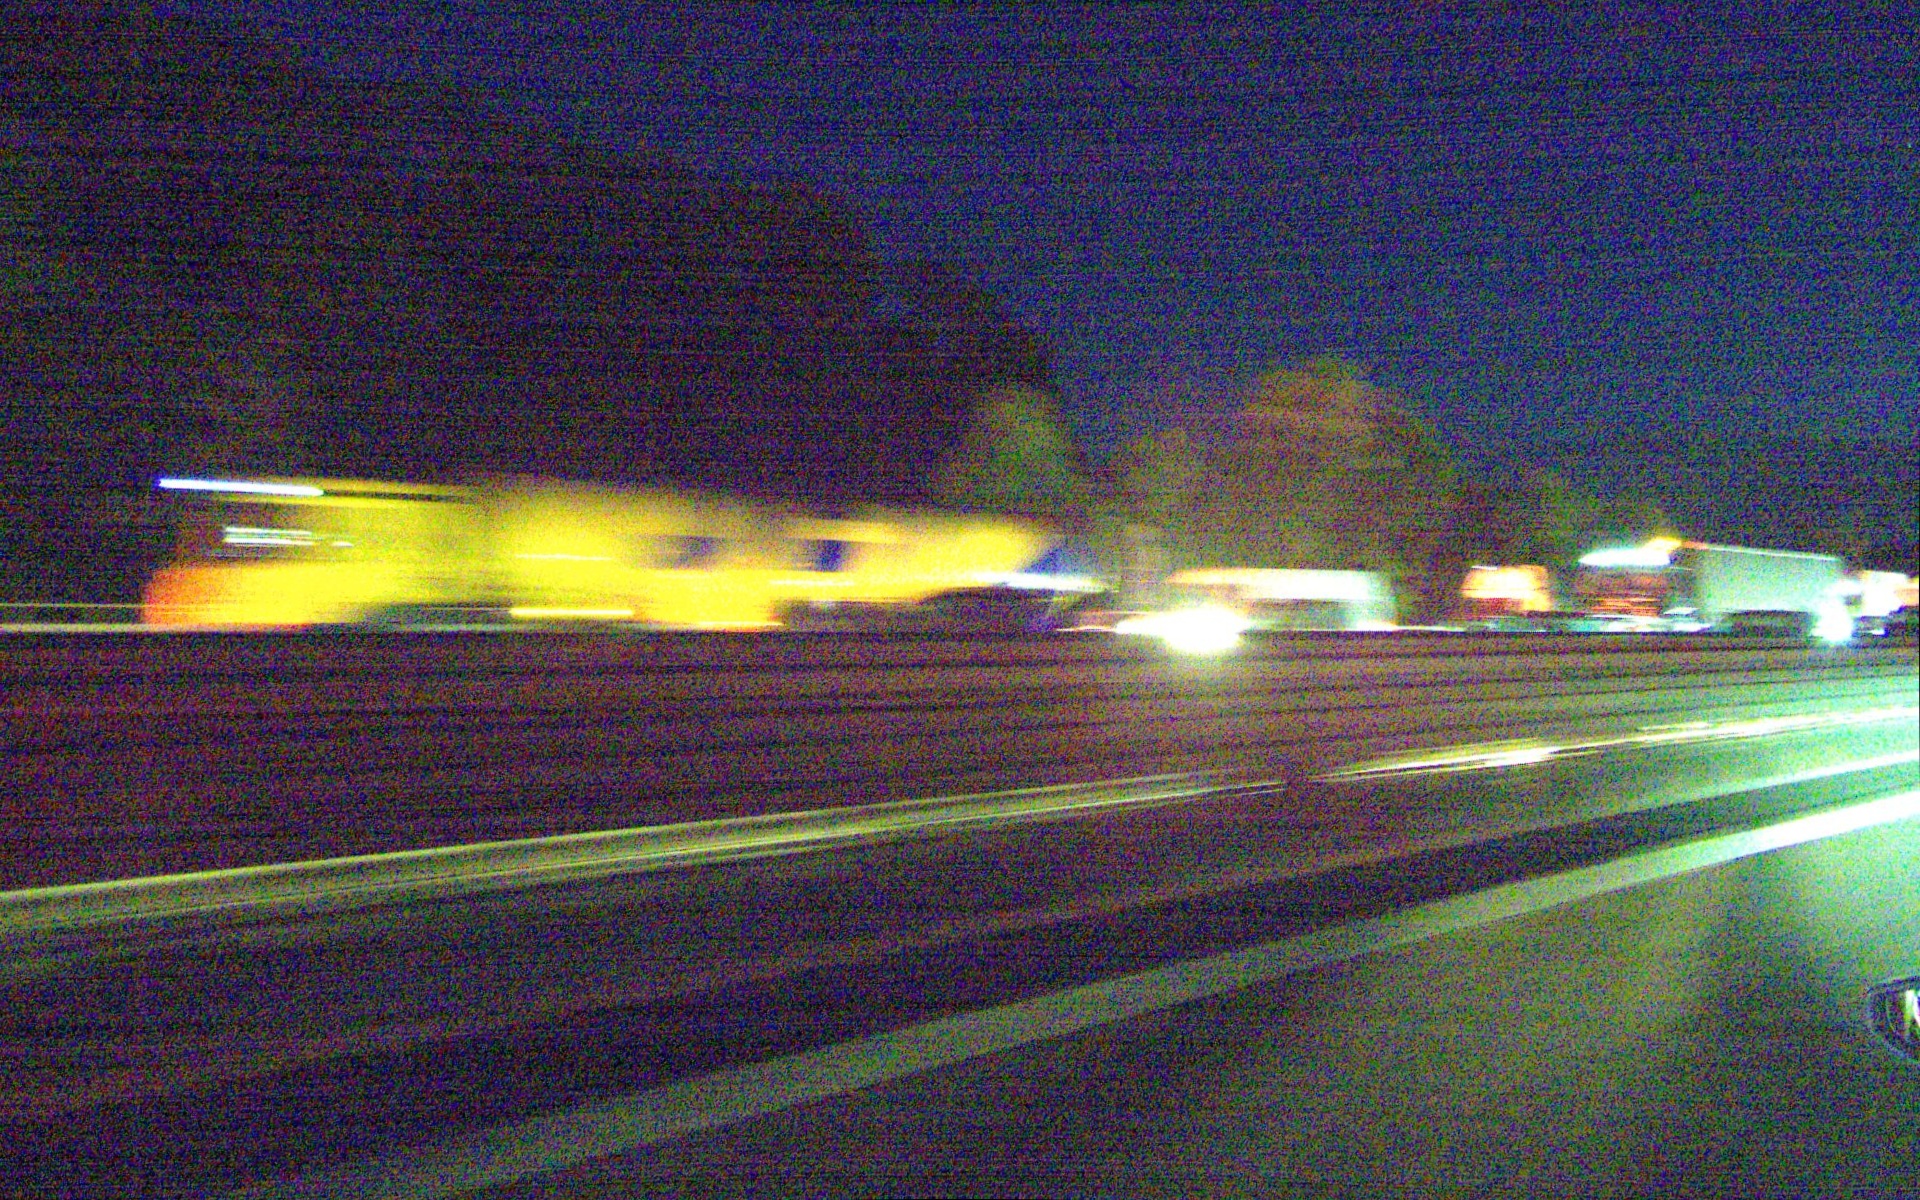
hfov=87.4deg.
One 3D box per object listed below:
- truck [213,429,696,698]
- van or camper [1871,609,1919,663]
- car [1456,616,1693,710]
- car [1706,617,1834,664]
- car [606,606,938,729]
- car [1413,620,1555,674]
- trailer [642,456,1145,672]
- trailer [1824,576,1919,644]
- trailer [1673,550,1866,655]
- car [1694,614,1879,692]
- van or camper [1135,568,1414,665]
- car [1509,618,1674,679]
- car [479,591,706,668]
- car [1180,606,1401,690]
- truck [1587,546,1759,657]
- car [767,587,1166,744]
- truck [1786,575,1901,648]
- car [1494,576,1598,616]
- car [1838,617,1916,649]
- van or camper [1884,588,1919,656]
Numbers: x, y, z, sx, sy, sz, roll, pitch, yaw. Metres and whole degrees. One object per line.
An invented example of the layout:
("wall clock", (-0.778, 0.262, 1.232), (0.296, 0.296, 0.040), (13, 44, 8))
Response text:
("truck", (-7.149, -0.384, 14.762), (5.727, 3.262, 2.631), (3, 2, -30))
("van or camper", (26.972, 0.991, 27.352), (5.292, 1.372, 1.810), (2, 0, -32))
("car", (10.248, 1.002, 16.701), (3.950, 1.372, 1.564), (2, 0, -28))
("car", (25.910, 1.279, 32.125), (4.189, 1.372, 1.788), (2, 0, -30))
("car", (-2.401, 0.817, 13.076), (3.953, 1.372, 1.563), (2, 0, -30))
("car", (14.841, 1.308, 28.400), (4.189, 1.372, 1.563), (2, 0, -30))
("trailer", (-0.956, -0.446, 18.443), (8.898, 3.218, 2.593), (3, 2, -30))
("trailer", (55.436, 0.681, 59.577), (12.991, 3.724, 2.865), (2, 0, -33))
("trailer", (31.878, 0.218, 39.318), (11.058, 3.675, 2.380), (2, 1, -33))
("car", (17.705, 1.110, 21.493), (3.950, 1.491, 1.651), (2, 0, -28))
("van or camper", (7.754, 0.422, 24.210), (7.563, 2.040, 2.173), (2, 0, -34))
("car", (16.091, 1.214, 25.558), (4.189, 1.372, 1.788), (2, 0, -30))
("car", (-7.144, 0.573, 19.610), (3.953, 1.372, 1.563), (2, 0, -30))
("car", (6.107, 0.861, 18.495), (3.950, 1.372, 1.564), (2, 0, -28))
("truck", (24.781, 0.078, 34.835), (6.648, 3.561, 2.390), (1, 1, -32))
("car", (0.137, 0.612, 10.548), (3.955, 1.372, 1.562), (2, 0, -32))
("truck", (48.238, 0.642, 54.780), (7.186, 3.724, 2.865), (2, 0, -33))
("car", (21.706, -0.134, 37.160), (3.953, 1.372, 1.563), (2, 0, -30))
("car", (41.832, 1.497, 45.789), (4.593, 1.372, 1.561), (2, 0, -34))
("van or camper", (50.075, 1.182, 51.302), (7.313, 3.315, 2.419), (2, 0, -33))
